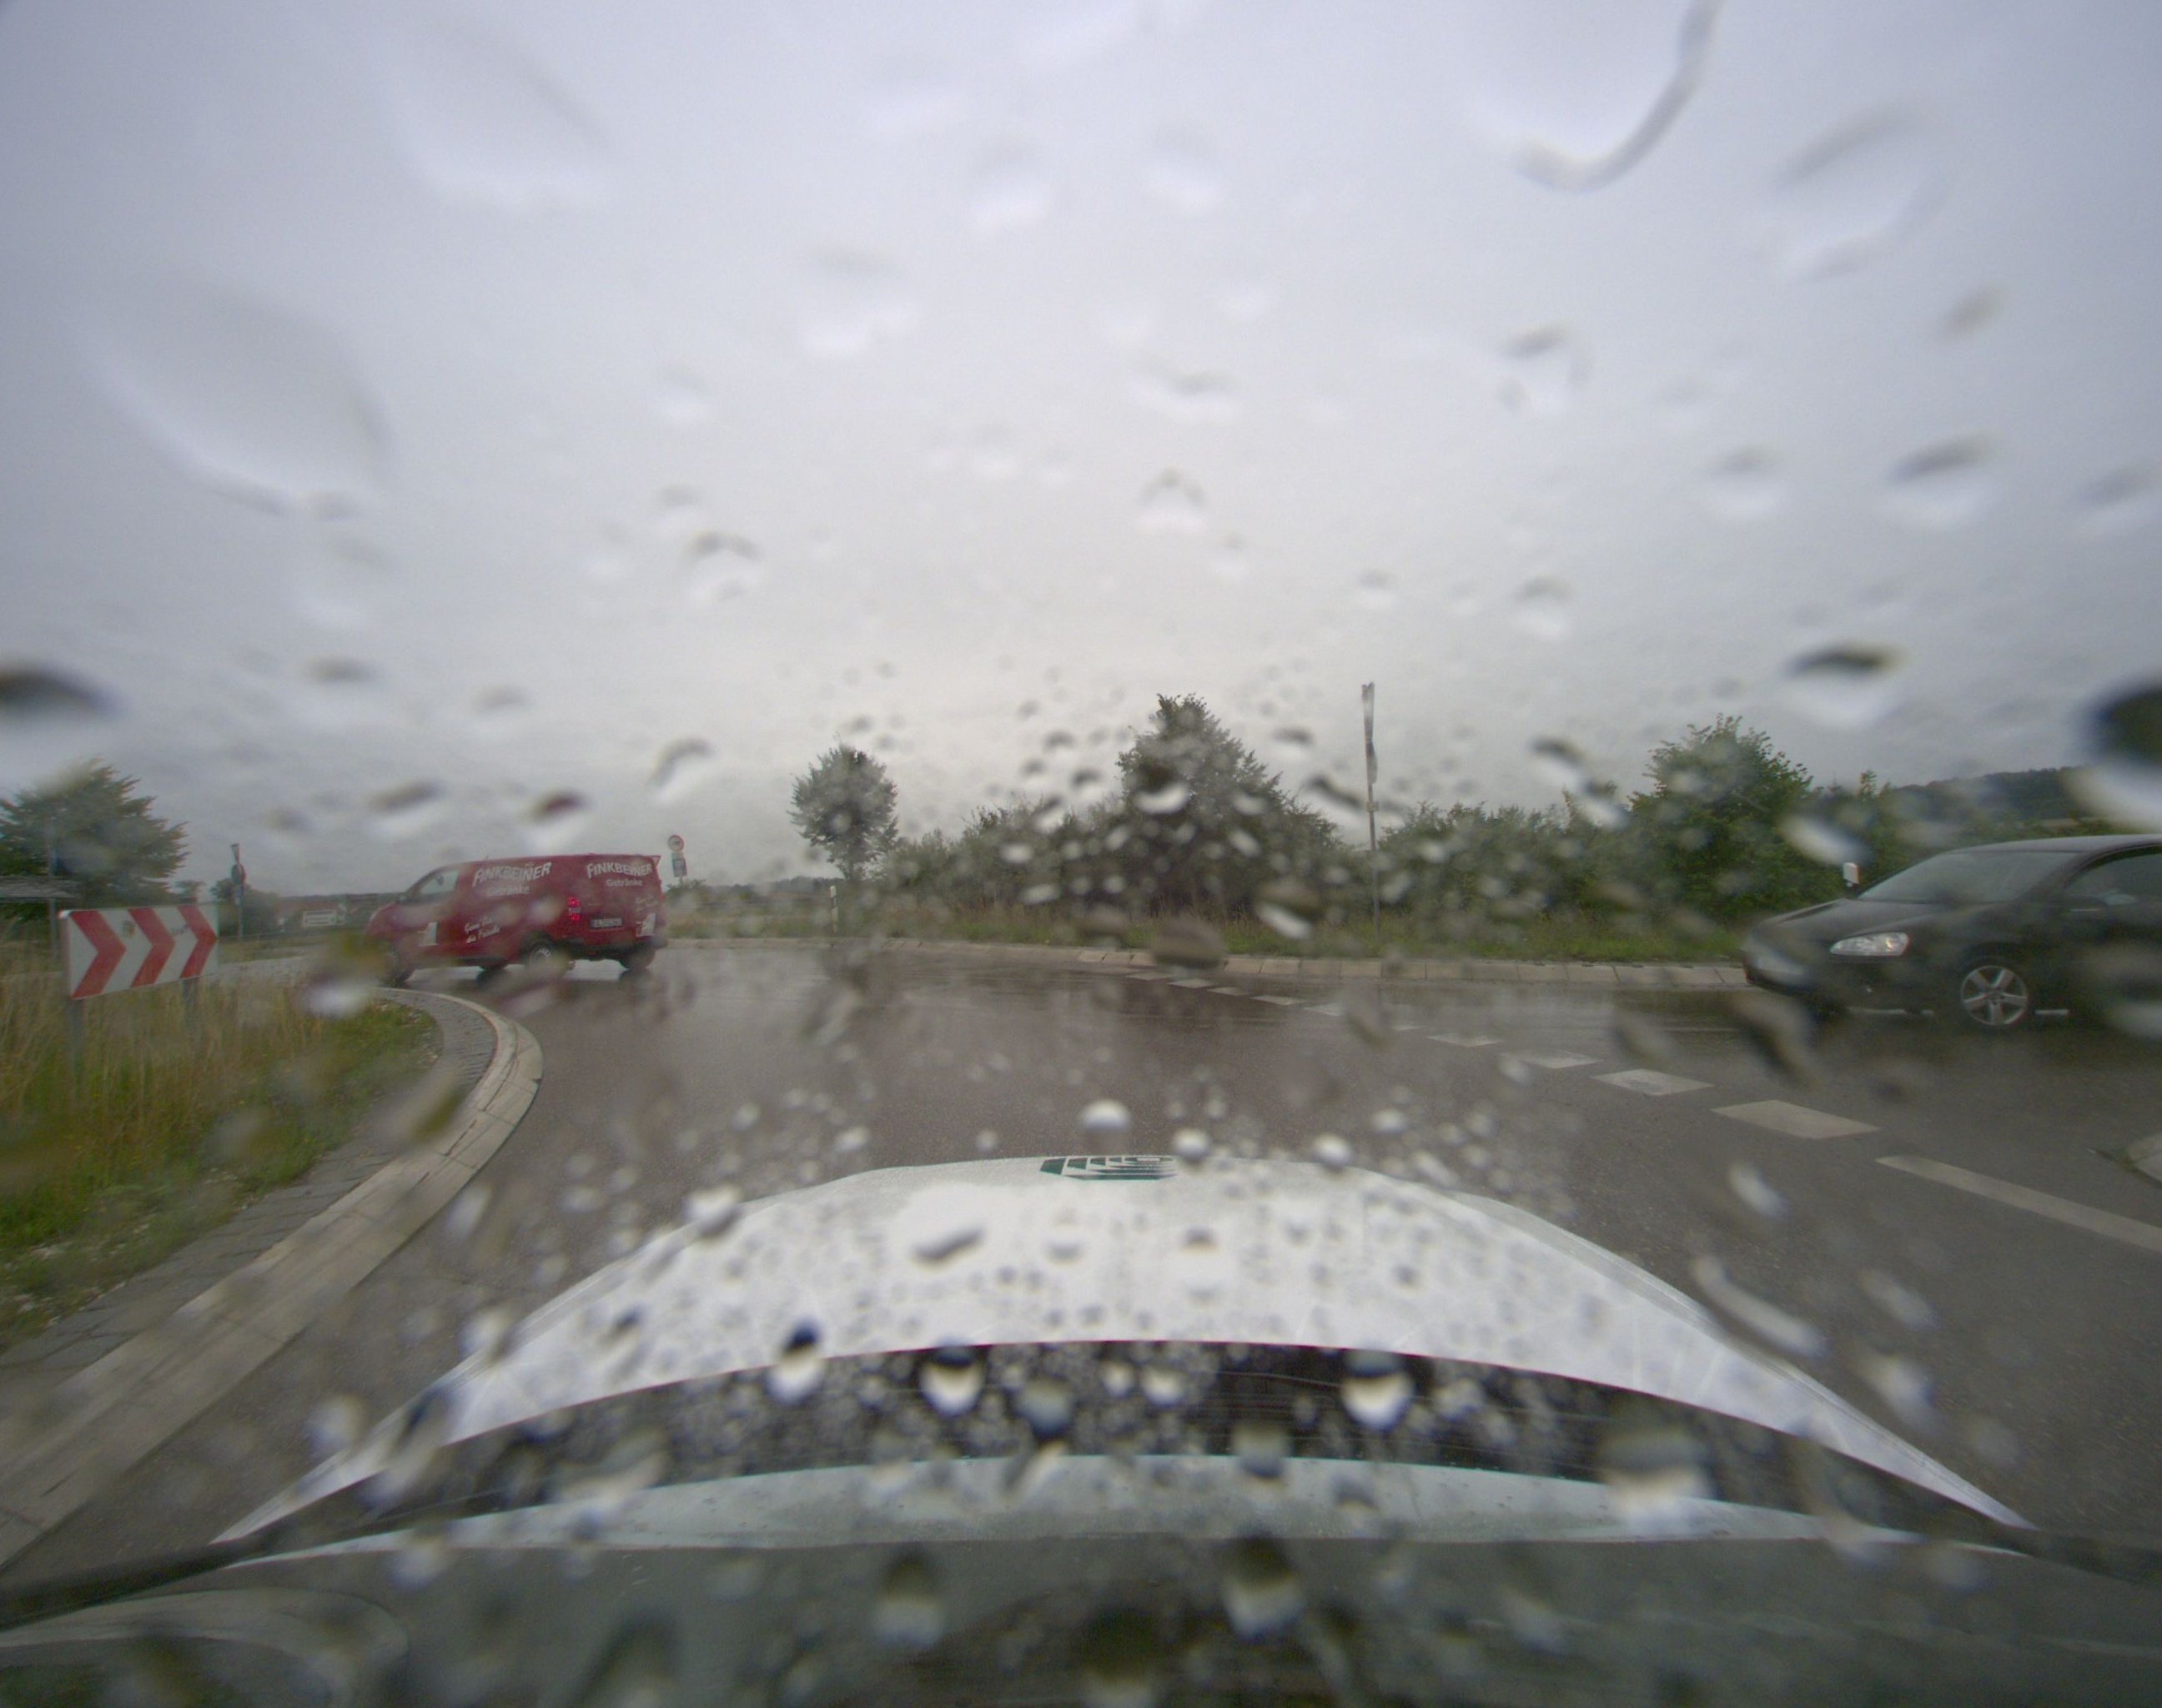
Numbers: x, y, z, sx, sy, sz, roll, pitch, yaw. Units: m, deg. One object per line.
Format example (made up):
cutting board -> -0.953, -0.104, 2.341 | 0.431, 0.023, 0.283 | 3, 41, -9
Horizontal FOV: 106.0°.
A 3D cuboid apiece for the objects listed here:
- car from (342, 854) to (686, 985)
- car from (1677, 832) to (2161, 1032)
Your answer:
car -> -9.301, 1.037, 13.419 | 4.922, 1.870, 2.009 | -2, 0, 18
car -> 7.991, 0.557, 6.880 | 4.469, 1.421, 1.876 | -1, 0, 3
